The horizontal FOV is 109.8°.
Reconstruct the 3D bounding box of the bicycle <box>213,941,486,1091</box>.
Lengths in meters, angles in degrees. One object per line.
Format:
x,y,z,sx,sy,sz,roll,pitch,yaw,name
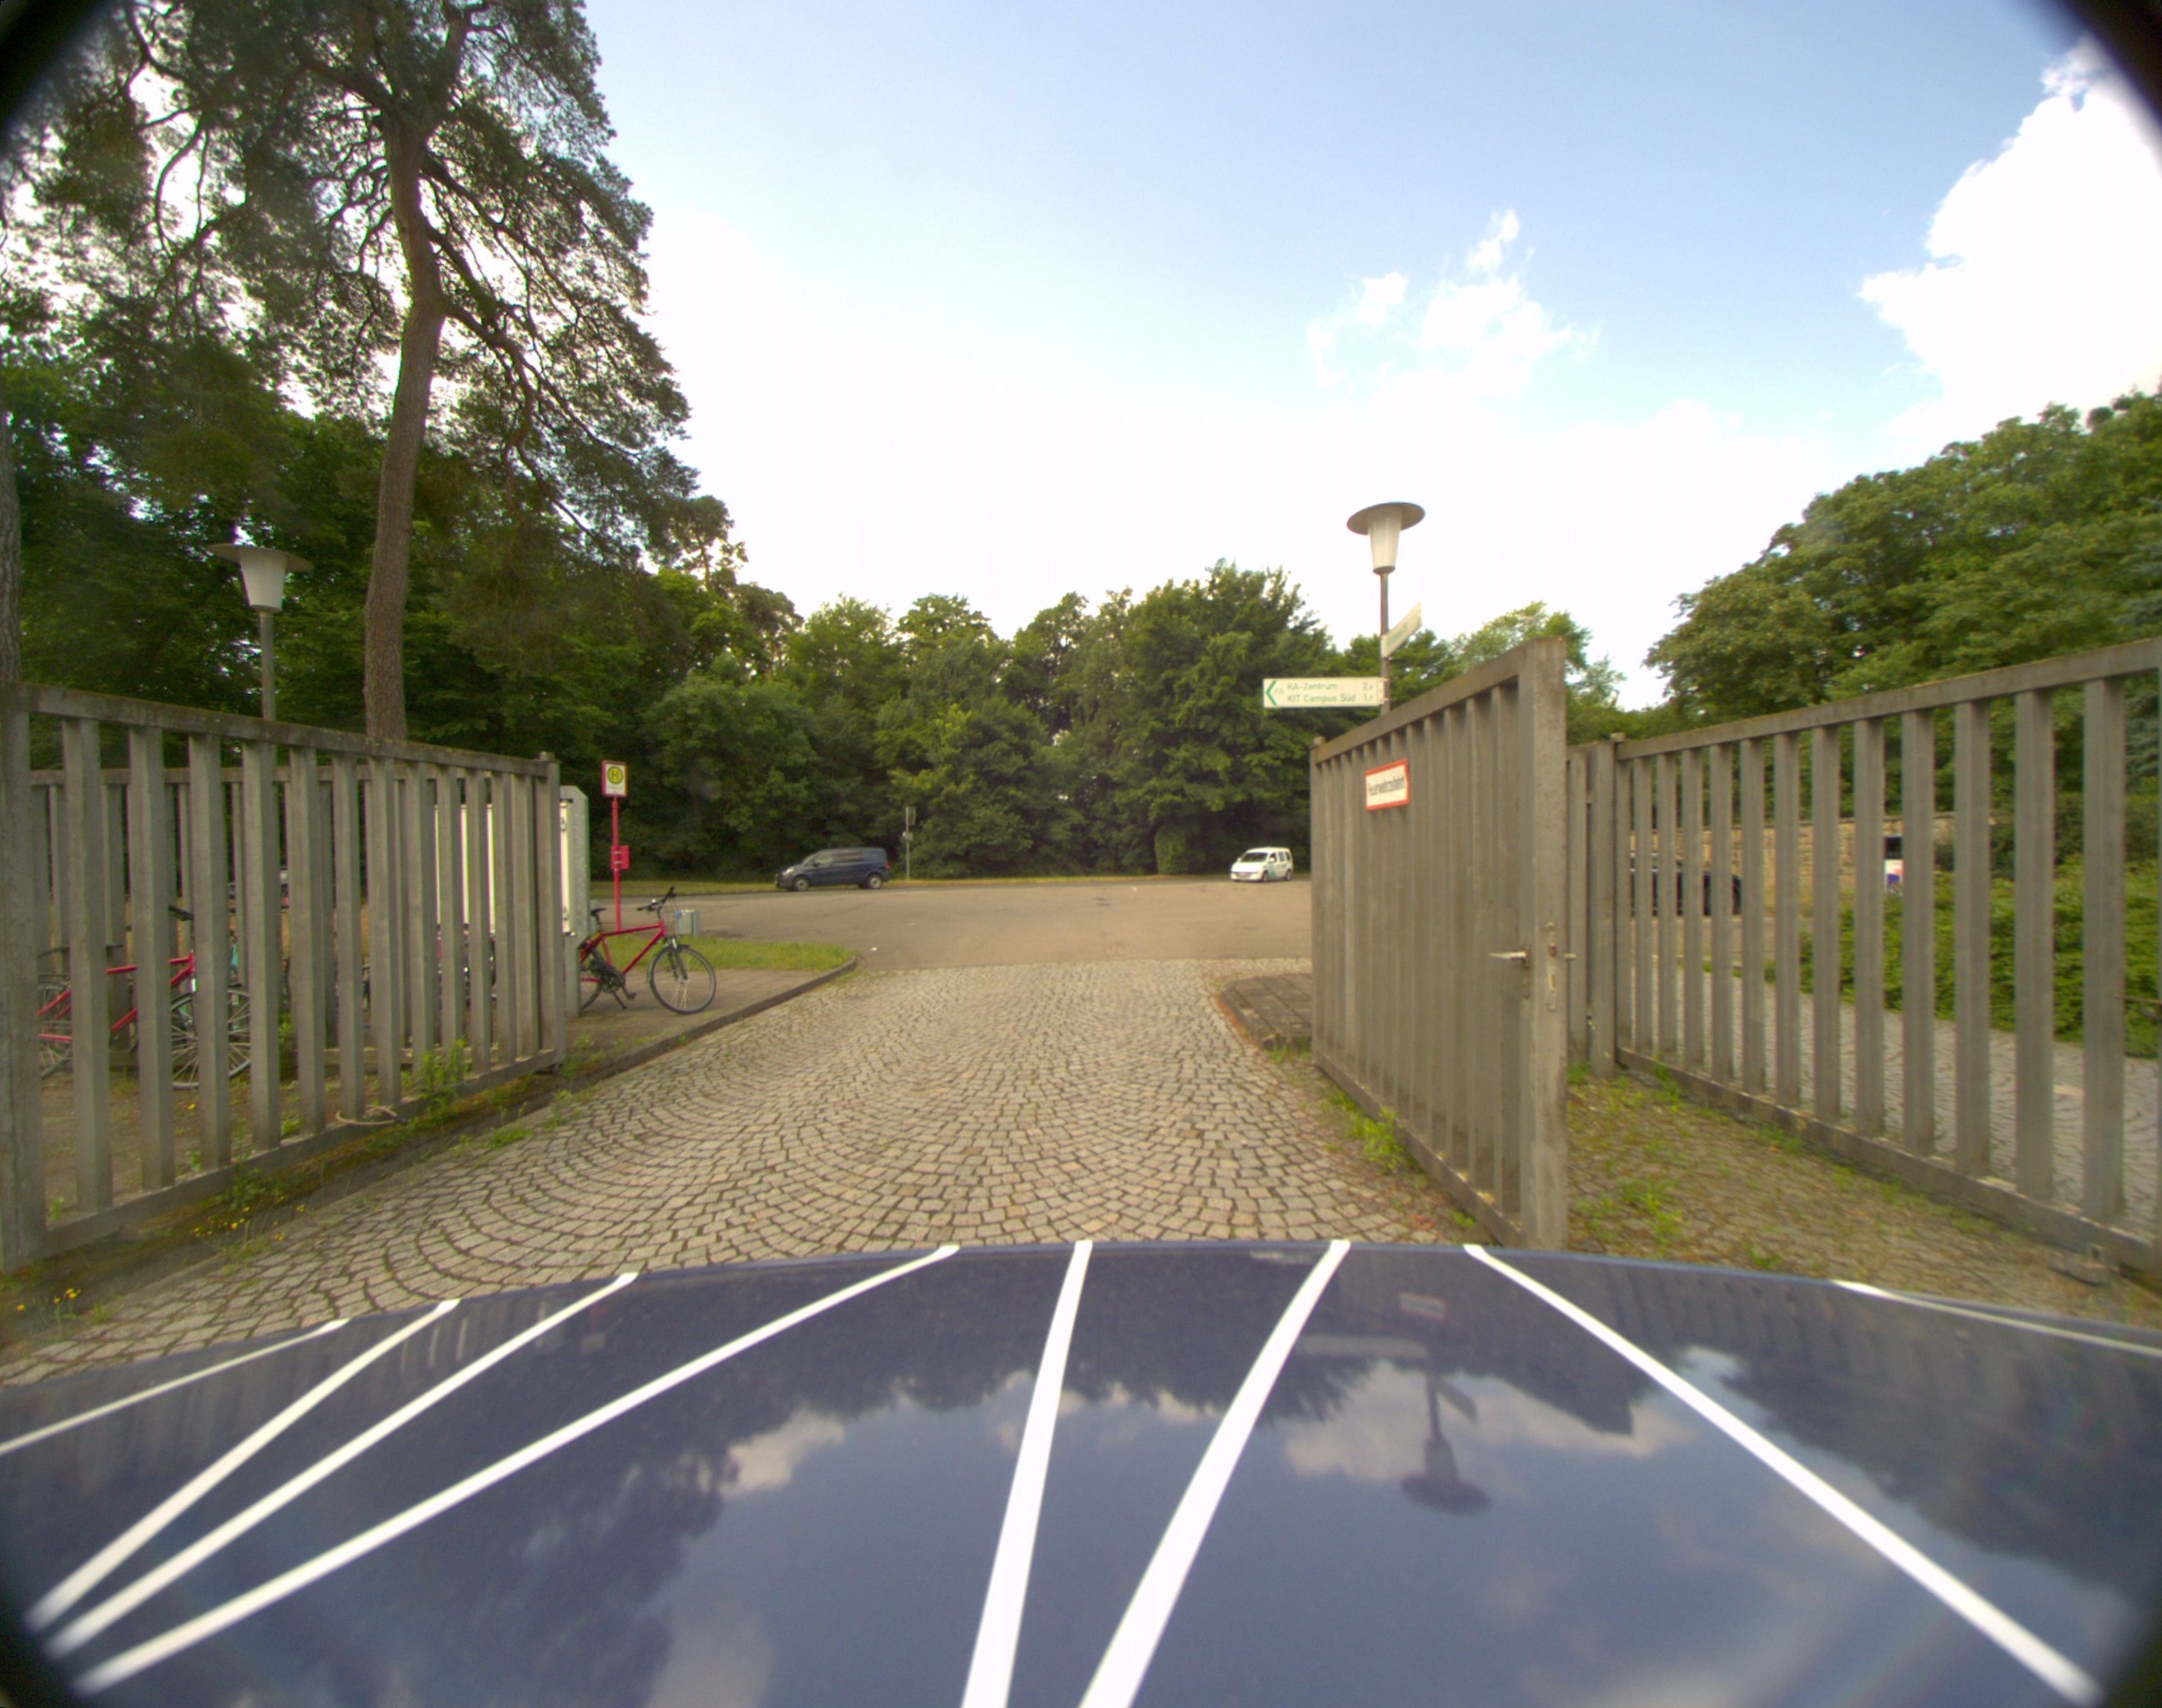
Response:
-5.478,1.199,5.720,1.730,1.027,0.387,0,1,2,bicycle

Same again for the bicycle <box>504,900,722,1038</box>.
-4.512,1.086,7.439,1.655,1.223,0.749,0,1,-6,bicycle

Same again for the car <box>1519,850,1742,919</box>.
13.197,0.717,18.470,3.995,1.508,1.803,-1,0,7,car

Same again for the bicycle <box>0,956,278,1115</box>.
-6.642,1.191,5.094,1.868,0.934,0.503,0,1,-4,bicycle

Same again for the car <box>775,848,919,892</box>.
-10.626,0.664,34.656,5.956,1.825,1.995,-1,1,-31,car

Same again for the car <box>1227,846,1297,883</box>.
9.702,0.512,40.573,1.862,1.749,4.157,2,2,43,car
